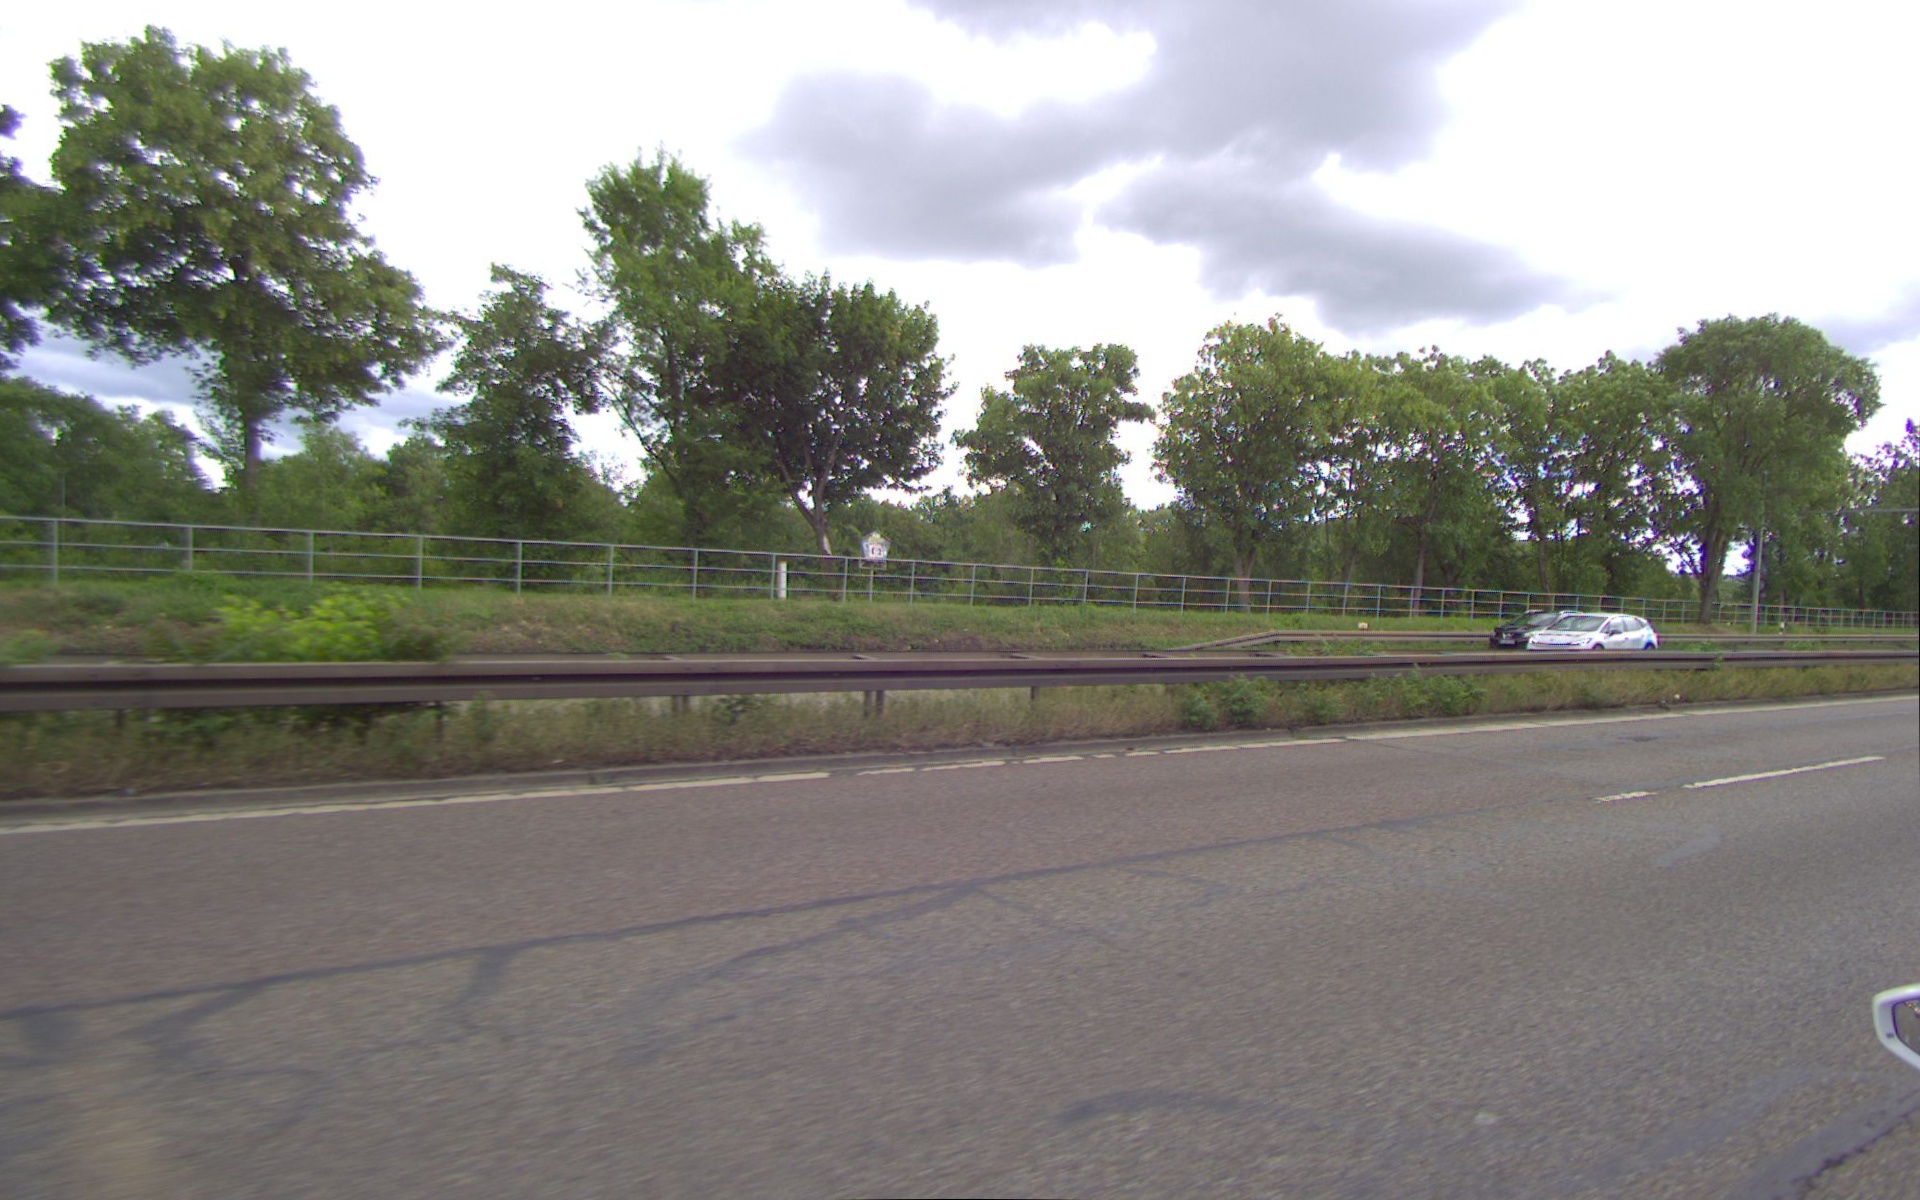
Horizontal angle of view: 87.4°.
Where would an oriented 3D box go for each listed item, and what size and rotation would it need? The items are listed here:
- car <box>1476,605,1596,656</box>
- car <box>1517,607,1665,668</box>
[{"bbox_3d":[19.228,1.004,33.518,3.994,1.626,1.718,1,-1,-30],"label":"car"},{"bbox_3d":[18.013,1.036,28.636,4.484,1.626,1.690,1,-1,-30],"label":"car"}]
